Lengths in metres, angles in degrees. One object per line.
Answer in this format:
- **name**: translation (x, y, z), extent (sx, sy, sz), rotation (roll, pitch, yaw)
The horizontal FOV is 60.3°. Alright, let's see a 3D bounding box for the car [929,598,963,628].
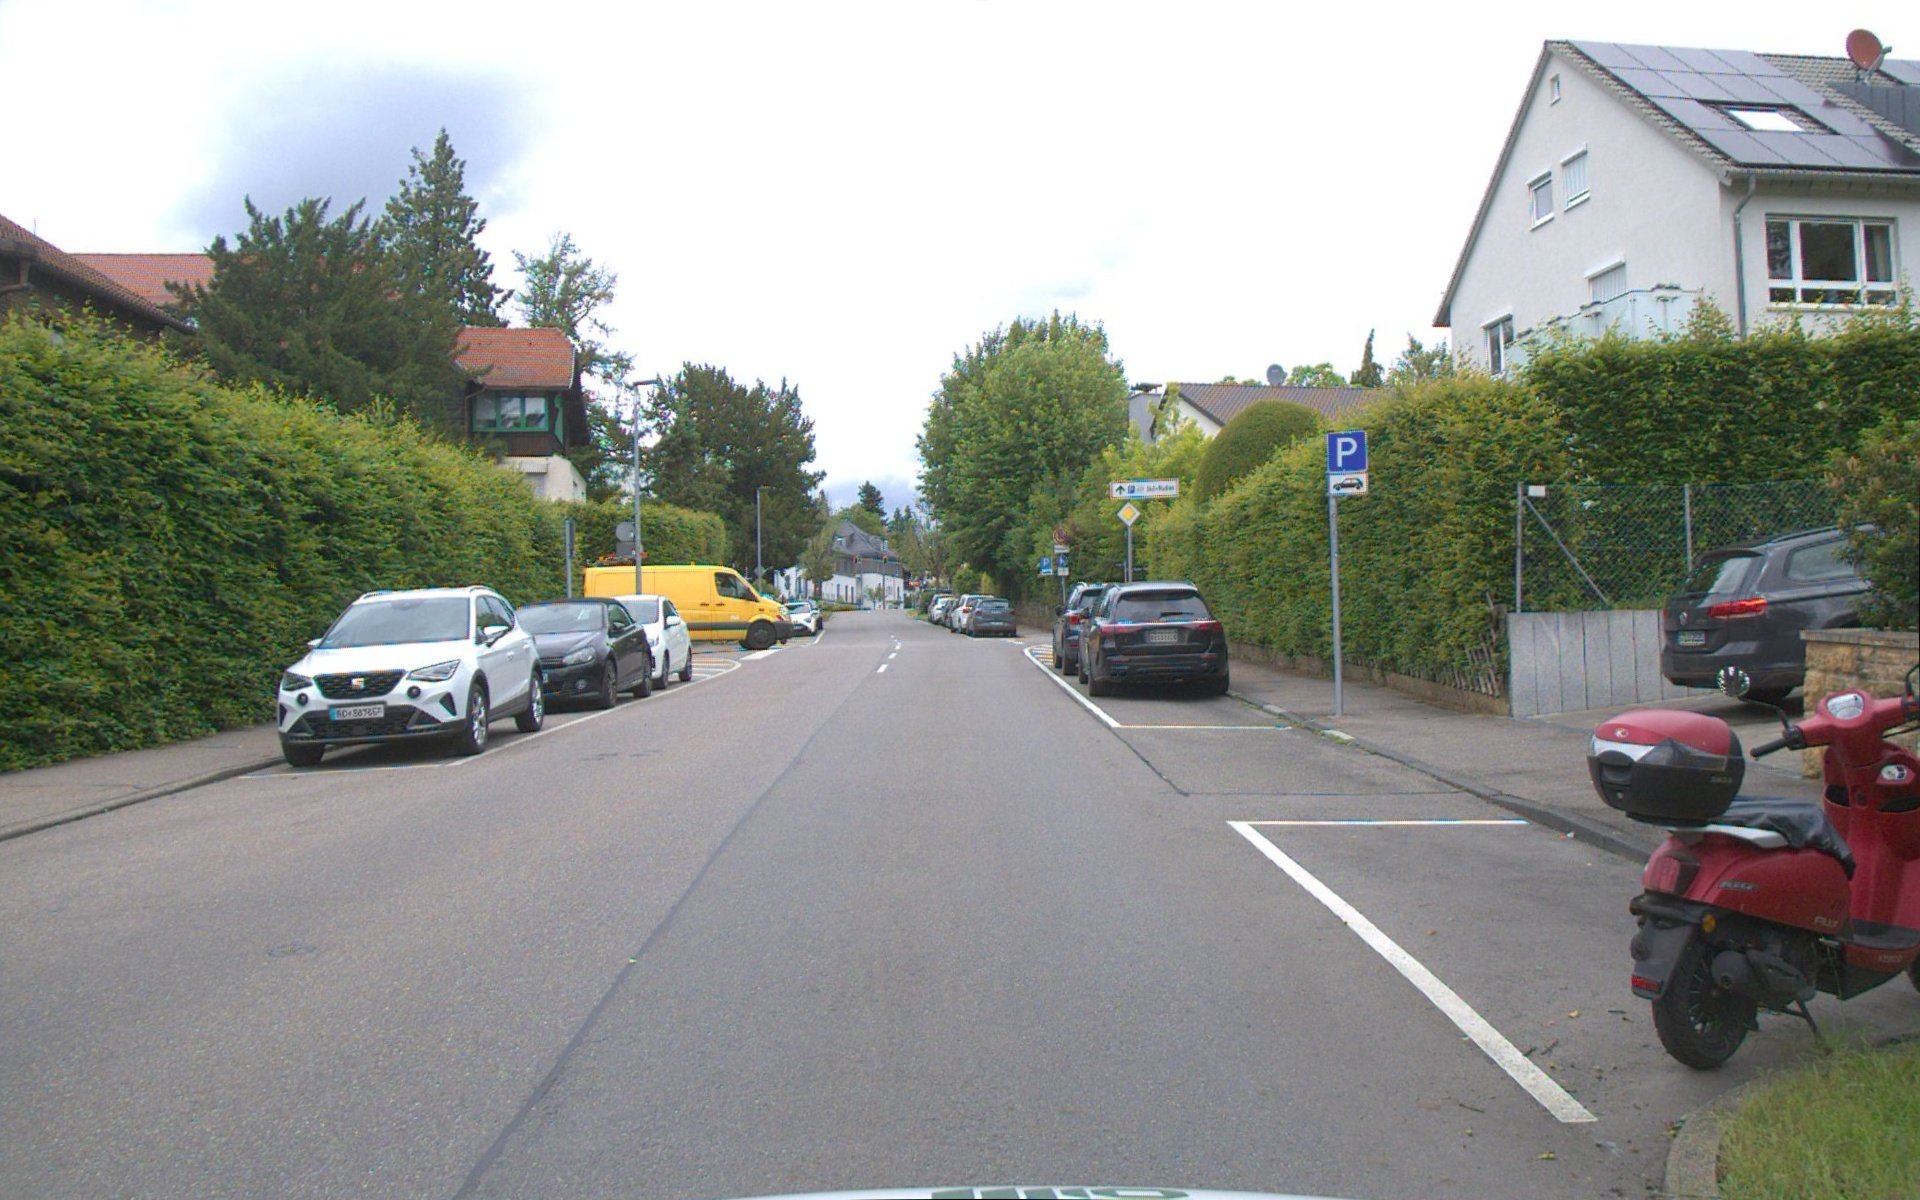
- **car**: translation (-0.777, 0.682, 90.859), extent (1.632, 1.527, 3.464), rotation (-1, 1, -5)

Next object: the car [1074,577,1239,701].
- **car**: translation (2.654, 0.464, 23.277), extent (1.844, 1.560, 4.475), rotation (0, 1, 1)

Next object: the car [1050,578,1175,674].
- **car**: translation (2.606, 0.396, 29.198), extent (1.844, 1.560, 4.475), rotation (0, 1, 1)

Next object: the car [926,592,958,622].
- **car**: translation (-1.081, 0.412, 97.763), extent (1.632, 1.697, 3.464), rotation (-1, 1, -5)

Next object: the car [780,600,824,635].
- **car**: translation (-6.878, 0.739, 71.773), extent (1.634, 1.424, 3.460), rotation (-1, 1, -9)

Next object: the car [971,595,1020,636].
- **car**: translation (1.403, 0.605, 66.298), extent (1.632, 1.527, 3.464), rotation (-1, 1, -5)

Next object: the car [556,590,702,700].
- **car**: translation (-5.315, 0.674, 26.995), extent (1.597, 1.549, 3.638), rotation (-4, 1, -1)

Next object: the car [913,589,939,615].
- **car**: translation (-2.346, 0.143, 113.612), extent (1.611, 1.697, 3.464), rotation (-1, 1, -4)

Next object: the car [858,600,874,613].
- **car**: translation (-10.605, 0.720, 186.618), extent (1.786, 1.445, 3.997), rotation (-1, 1, -4)

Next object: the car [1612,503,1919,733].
- **car**: translation (8.237, -0.021, 14.296), extent (4.280, 1.492, 1.968), rotation (-9, 1, -2)

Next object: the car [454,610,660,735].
- **car**: translation (-5.268, 0.906, 22.125), extent (1.727, 1.412, 3.999), rotation (-4, -1, -1)

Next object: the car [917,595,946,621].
- **car**: translation (-1.814, 0.502, 104.779), extent (1.632, 1.527, 3.464), rotation (-1, 1, -5)

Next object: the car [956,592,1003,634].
- **car**: translation (0.818, 0.546, 71.047), extent (1.680, 1.686, 3.619), rotation (-1, 1, -4)

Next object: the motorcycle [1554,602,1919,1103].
- **motorcycle**: translation (2.793, 0.720, 5.495), extent (1.848, 1.370, 0.592), rotation (-2, 1, -37)

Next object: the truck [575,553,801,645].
- **truck**: translation (-7.552, -0.008, 45.742), extent (5.840, 2.349, 2.811), rotation (0, -3, -18)

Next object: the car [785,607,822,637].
- **car**: translation (-7.956, 1.090, 83.848), extent (1.634, 1.424, 3.460), rotation (-1, 1, -9)

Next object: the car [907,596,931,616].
- **car**: translation (-3.049, 0.443, 122.608), extent (1.611, 1.396, 3.464), rotation (-1, 1, -4)

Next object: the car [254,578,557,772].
- **car**: translation (-5.197, 0.609, 16.060), extent (1.688, 1.567, 3.998), rotation (-3, 1, -3)
